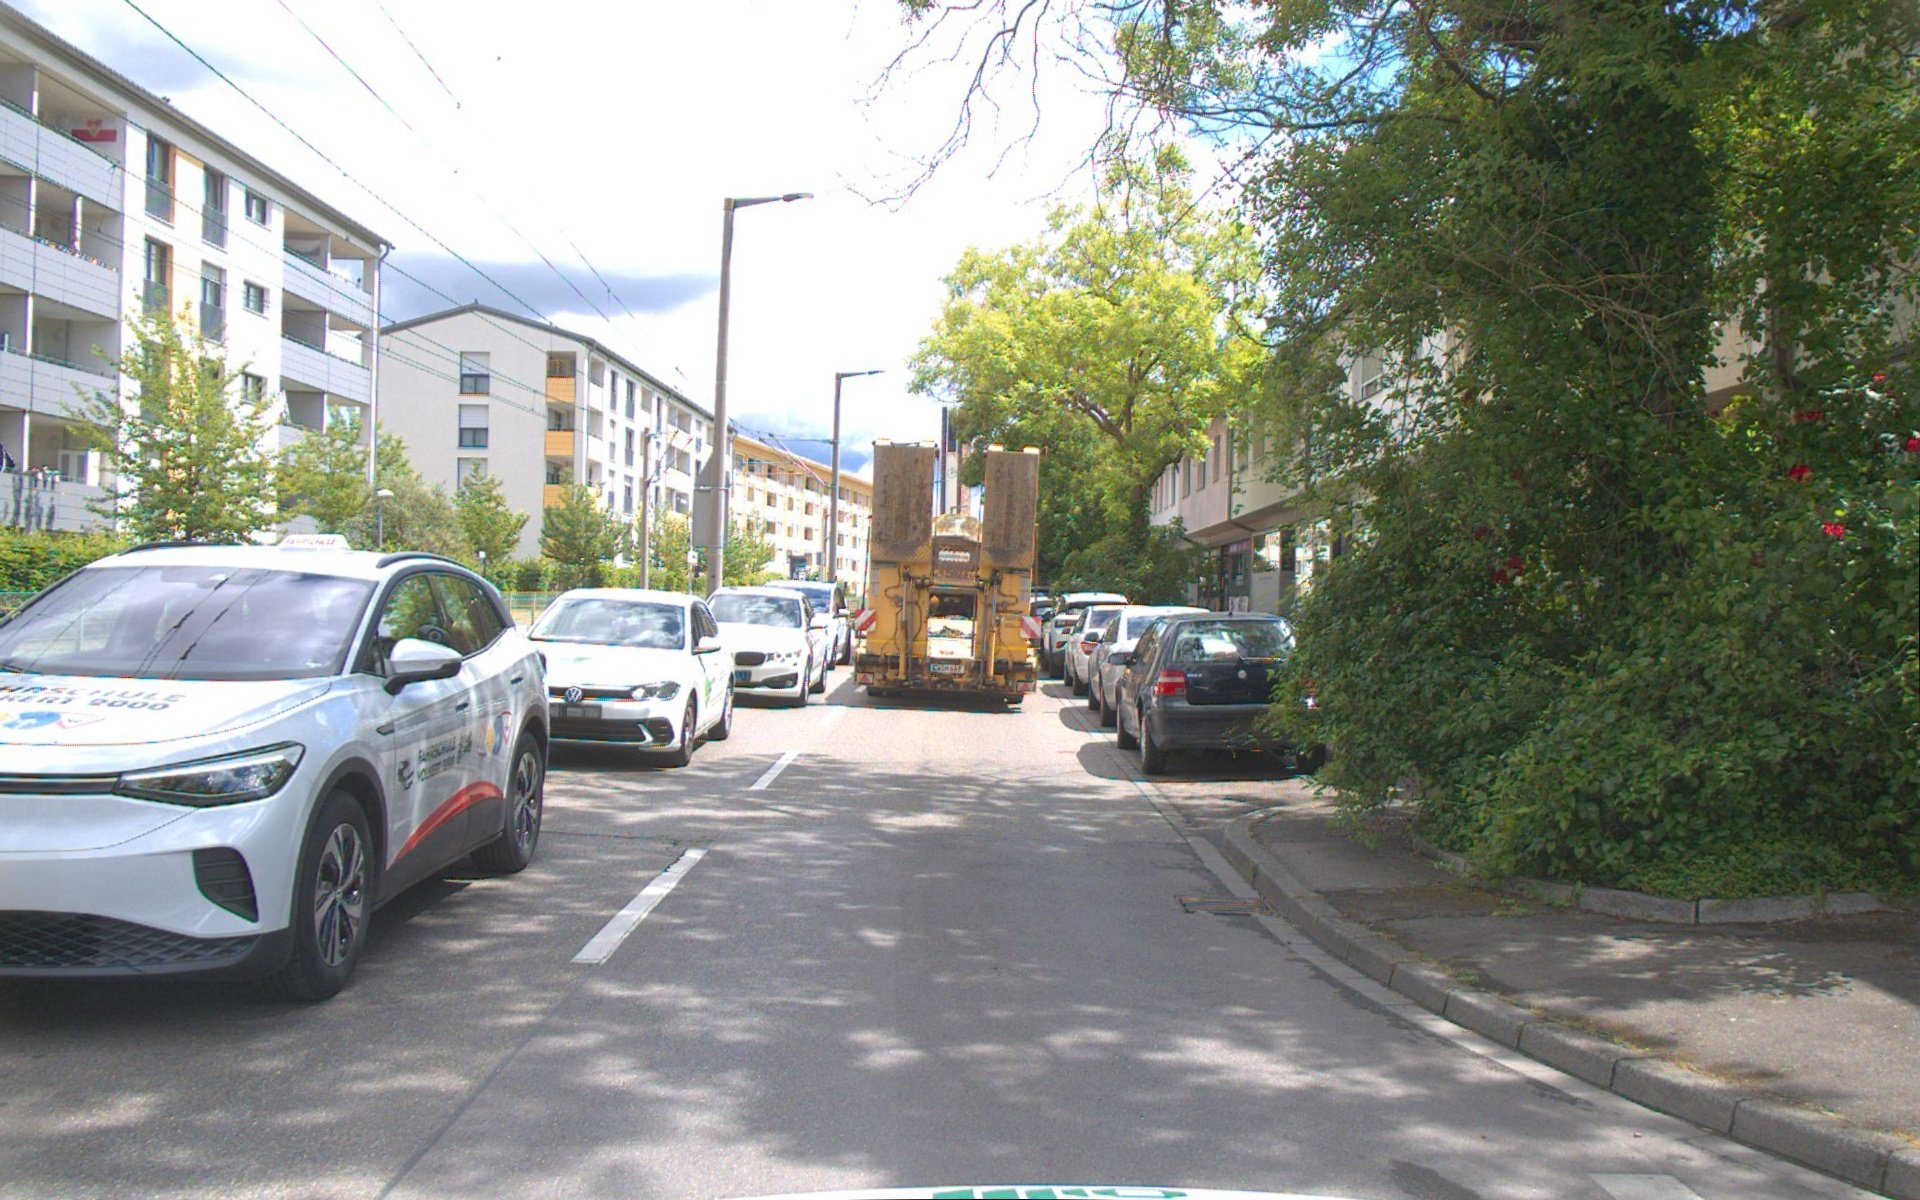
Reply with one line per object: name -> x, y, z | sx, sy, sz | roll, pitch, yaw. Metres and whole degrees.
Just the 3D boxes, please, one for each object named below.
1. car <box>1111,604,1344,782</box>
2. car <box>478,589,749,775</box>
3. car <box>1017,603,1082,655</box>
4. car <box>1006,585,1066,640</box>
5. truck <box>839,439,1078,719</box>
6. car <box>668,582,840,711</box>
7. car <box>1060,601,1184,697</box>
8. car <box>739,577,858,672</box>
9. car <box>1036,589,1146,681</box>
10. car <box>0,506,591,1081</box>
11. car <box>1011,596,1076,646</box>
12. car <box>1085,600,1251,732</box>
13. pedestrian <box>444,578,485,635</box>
car -> 2.524, 0.819, 16.484 | 1.776, 1.489, 4.042 | 2, 0, 2
car -> -3.009, 0.650, 15.131 | 1.711, 1.431, 3.939 | 2, 0, -2
car -> 2.535, 0.784, 46.258 | 1.734, 1.373, 4.002 | -1, 0, 4
car -> 2.644, 0.437, 58.166 | 1.973, 1.820, 5.077 | 1, 0, 2
truck -> -0.076, -0.298, 28.233 | 3.060, 3.626, 12.458 | 2, 0, -1
car -> -2.745, 0.575, 23.072 | 1.780, 1.529, 4.836 | 3, 0, -1
car -> 2.677, 0.772, 28.147 | 1.689, 1.451, 4.446 | 2, 0, 1
car -> -3.073, 0.439, 32.287 | 1.780, 1.642, 4.601 | 3, 0, 0
car -> 2.579, 0.654, 33.395 | 1.800, 1.672, 4.429 | 2, 0, 0
car -> -2.983, 0.569, 7.210 | 1.820, 1.720, 4.432 | 2, 0, -2
car -> 2.567, 0.627, 51.553 | 1.735, 1.467, 3.898 | -1, 0, -1
car -> 2.678, 0.792, 22.284 | 1.776, 1.525, 4.912 | 2, 0, 2
pedestrian -> -13.412, 0.165, 44.789 | 0.780, 1.509, 0.995 | 2, 0, 0
